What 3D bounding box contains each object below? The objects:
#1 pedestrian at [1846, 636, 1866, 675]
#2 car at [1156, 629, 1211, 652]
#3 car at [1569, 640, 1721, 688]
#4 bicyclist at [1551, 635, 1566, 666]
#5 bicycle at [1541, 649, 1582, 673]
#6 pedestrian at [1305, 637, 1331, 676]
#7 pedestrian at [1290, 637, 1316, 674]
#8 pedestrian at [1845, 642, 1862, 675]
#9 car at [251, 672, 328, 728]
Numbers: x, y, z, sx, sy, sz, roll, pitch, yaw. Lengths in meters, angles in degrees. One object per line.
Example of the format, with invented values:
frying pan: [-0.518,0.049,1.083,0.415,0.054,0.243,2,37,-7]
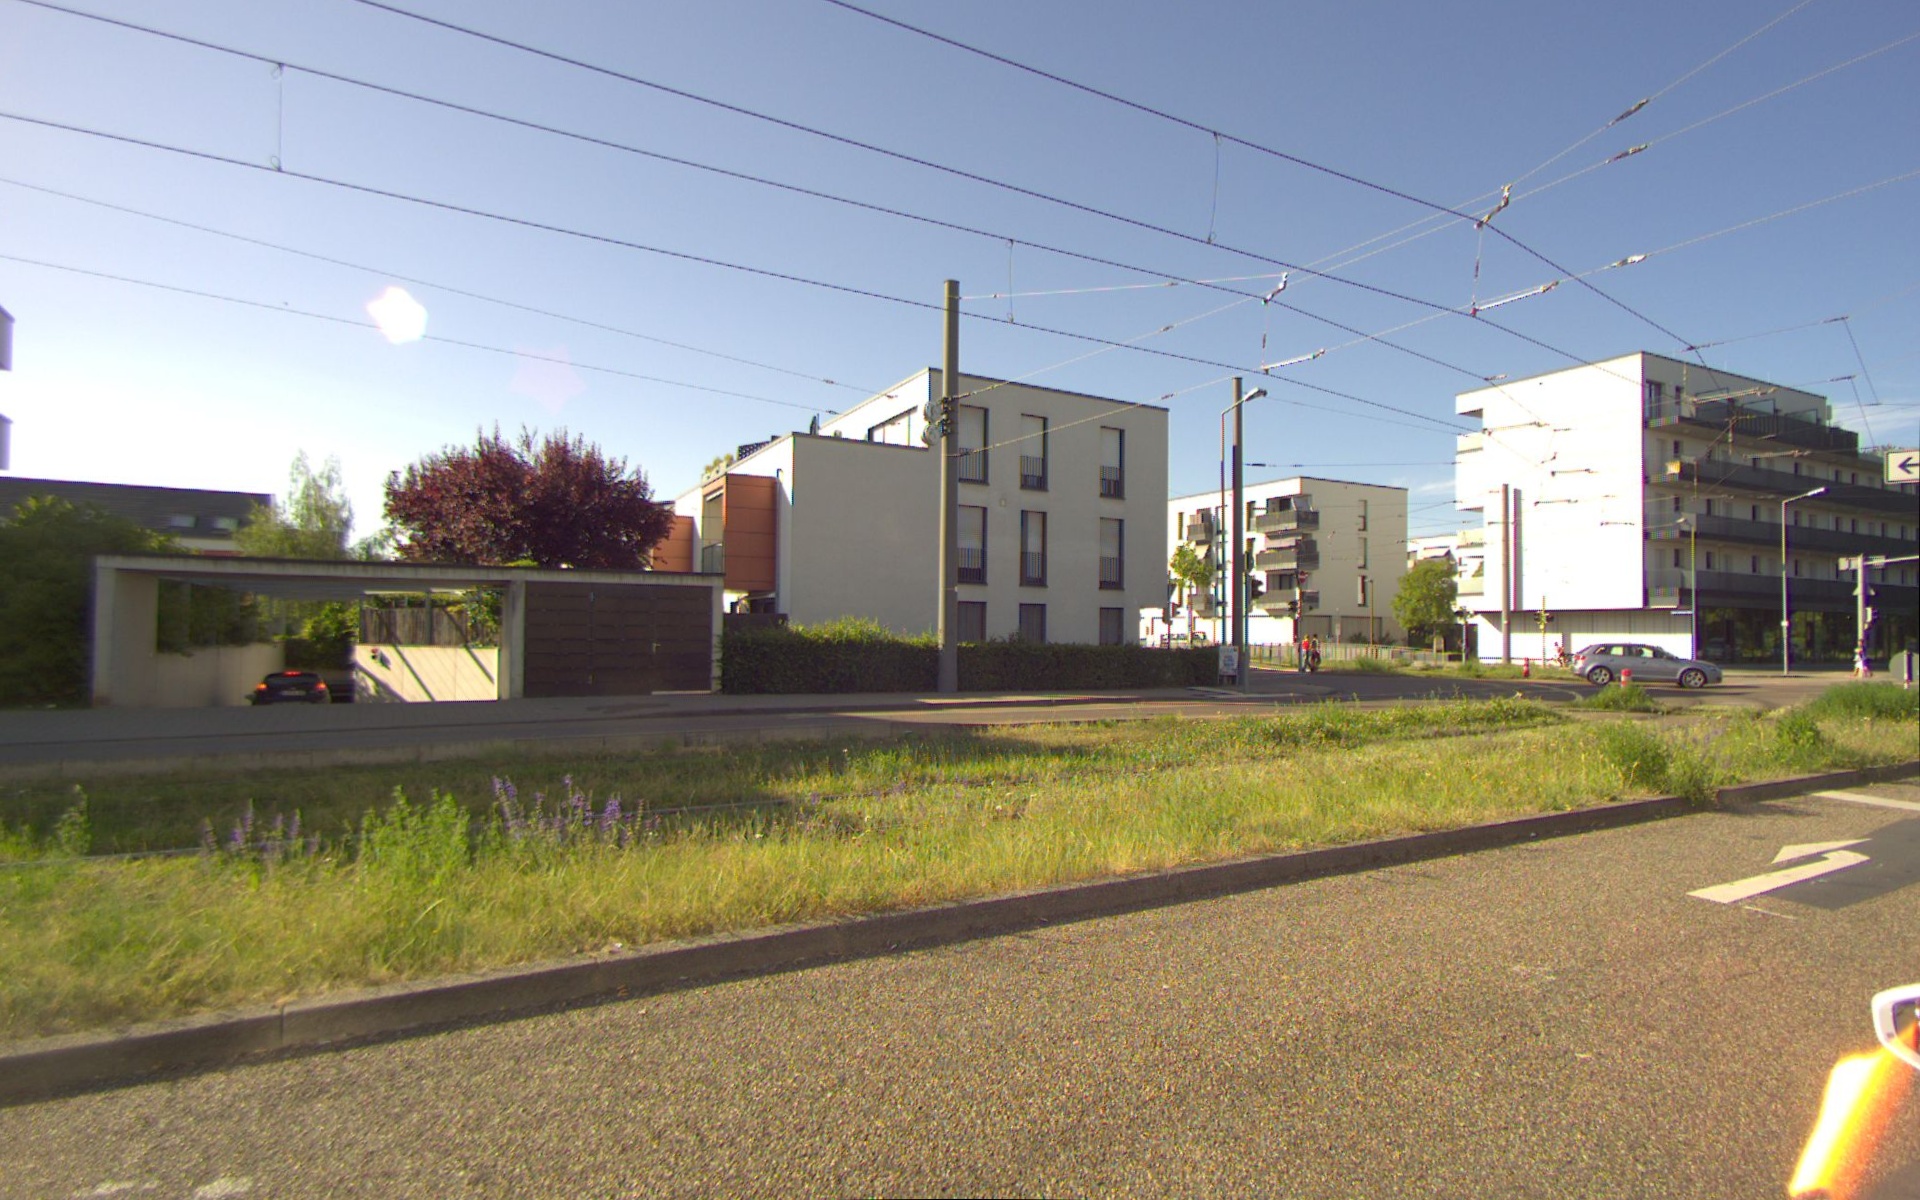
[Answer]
pedestrian: [41.981,2.587,47.063,0.513,1.767,0.539,2,0,-35]
car: [17.804,3.200,80.279,1.974,1.595,4.309,2,0,-27]
car: [22.974,2.109,33.892,4.035,1.505,1.867,-1,-2,29]
bicyclist: [31.864,2.685,53.477,0.630,1.635,0.783,2,0,34]
bicycle: [31.996,3.228,53.408,1.829,1.139,0.820,2,0,34]
pedestrian: [15.720,2.472,44.118,0.735,1.626,0.766,2,0,-34]
pedestrian: [15.314,2.464,44.866,0.735,1.626,0.766,2,0,-34]
pedestrian: [41.549,2.707,46.718,0.513,1.523,0.438,2,0,-35]
car: [-17.679,2.665,26.530,1.560,1.344,3.966,2,-7,-33]
